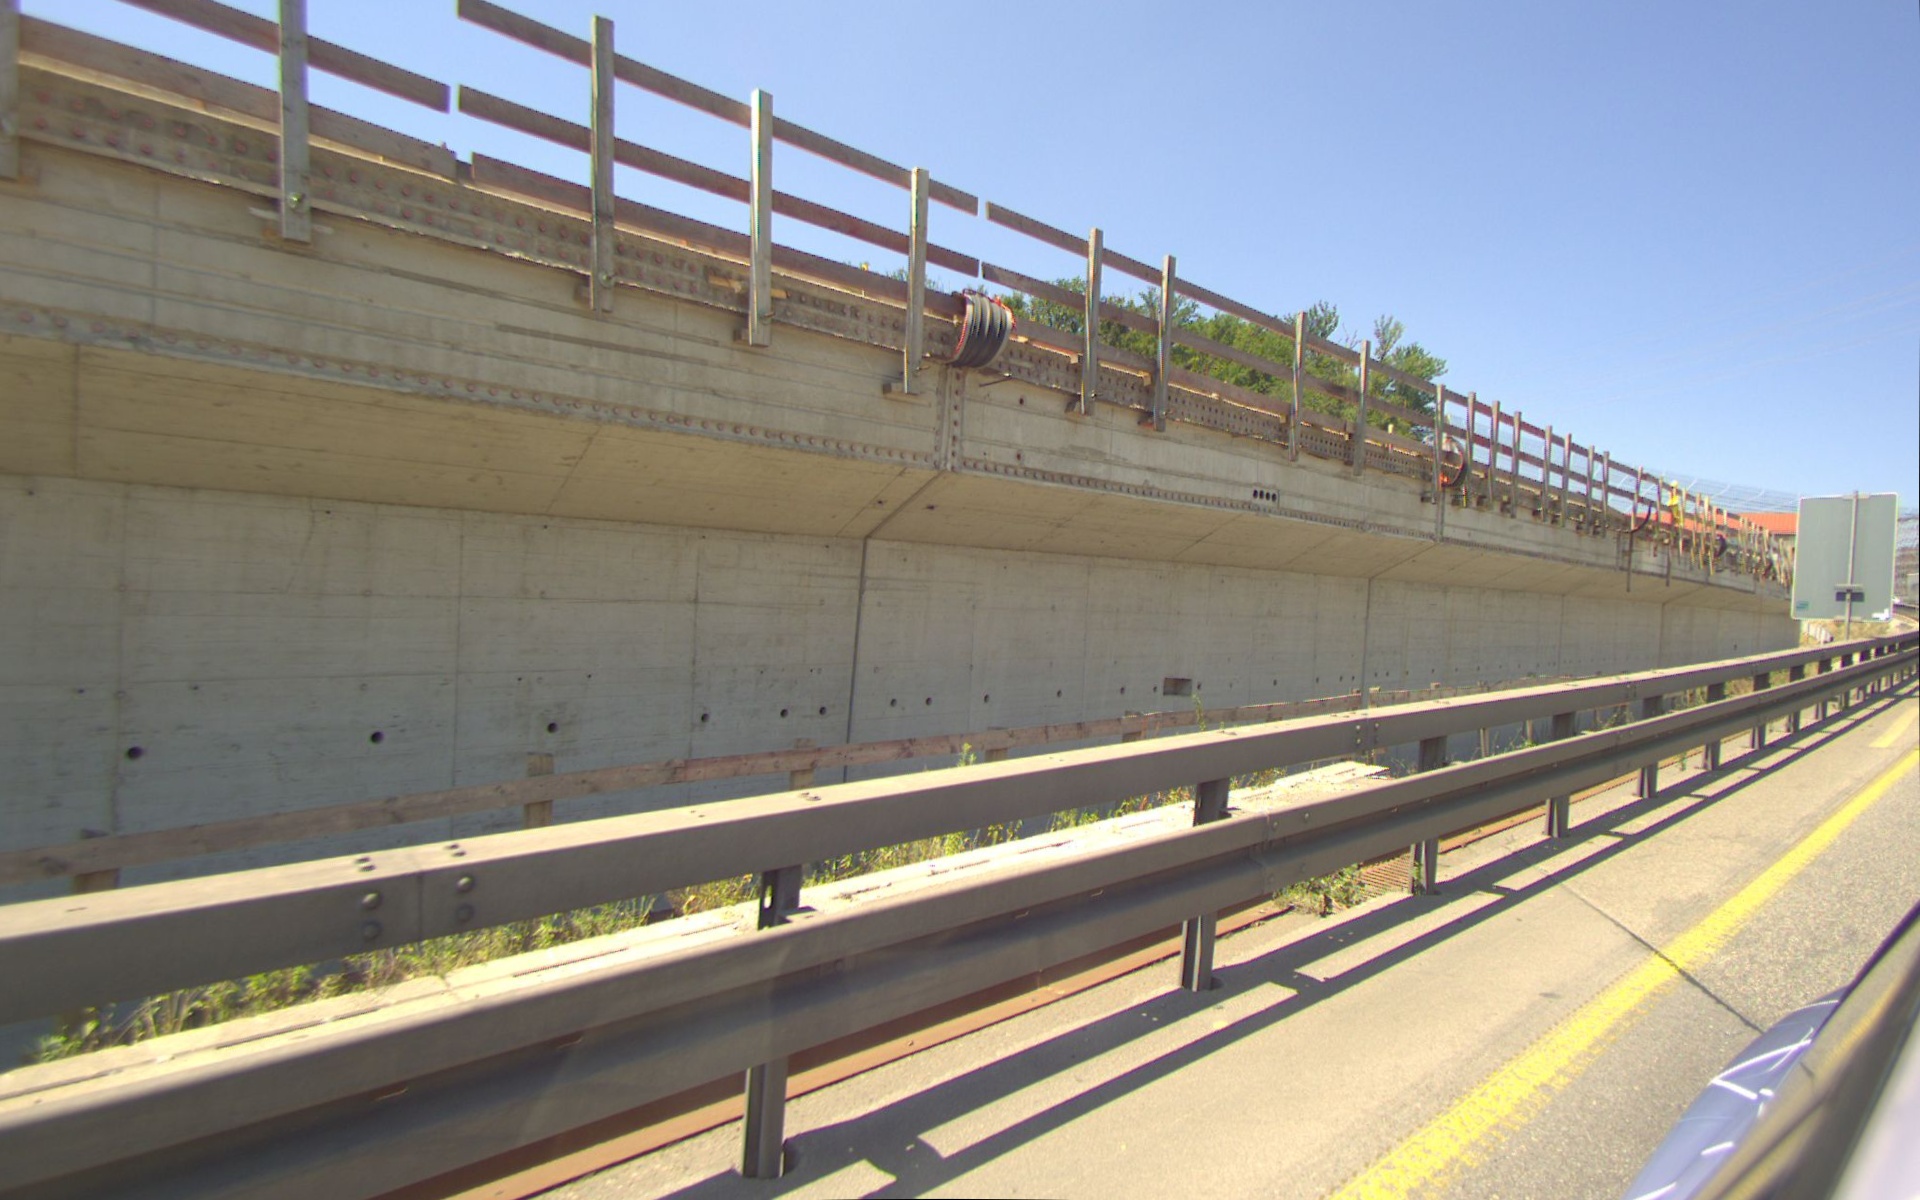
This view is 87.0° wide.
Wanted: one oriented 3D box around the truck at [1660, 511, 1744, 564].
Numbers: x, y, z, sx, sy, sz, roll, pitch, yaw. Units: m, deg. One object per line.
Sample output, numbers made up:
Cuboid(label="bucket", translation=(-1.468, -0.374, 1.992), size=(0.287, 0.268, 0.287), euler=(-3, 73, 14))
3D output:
Cuboid(label="truck", translation=(58.069, -4.824, 79.192), size=(5.591, 3.741, 2.725), euler=(3, 0, -24))
